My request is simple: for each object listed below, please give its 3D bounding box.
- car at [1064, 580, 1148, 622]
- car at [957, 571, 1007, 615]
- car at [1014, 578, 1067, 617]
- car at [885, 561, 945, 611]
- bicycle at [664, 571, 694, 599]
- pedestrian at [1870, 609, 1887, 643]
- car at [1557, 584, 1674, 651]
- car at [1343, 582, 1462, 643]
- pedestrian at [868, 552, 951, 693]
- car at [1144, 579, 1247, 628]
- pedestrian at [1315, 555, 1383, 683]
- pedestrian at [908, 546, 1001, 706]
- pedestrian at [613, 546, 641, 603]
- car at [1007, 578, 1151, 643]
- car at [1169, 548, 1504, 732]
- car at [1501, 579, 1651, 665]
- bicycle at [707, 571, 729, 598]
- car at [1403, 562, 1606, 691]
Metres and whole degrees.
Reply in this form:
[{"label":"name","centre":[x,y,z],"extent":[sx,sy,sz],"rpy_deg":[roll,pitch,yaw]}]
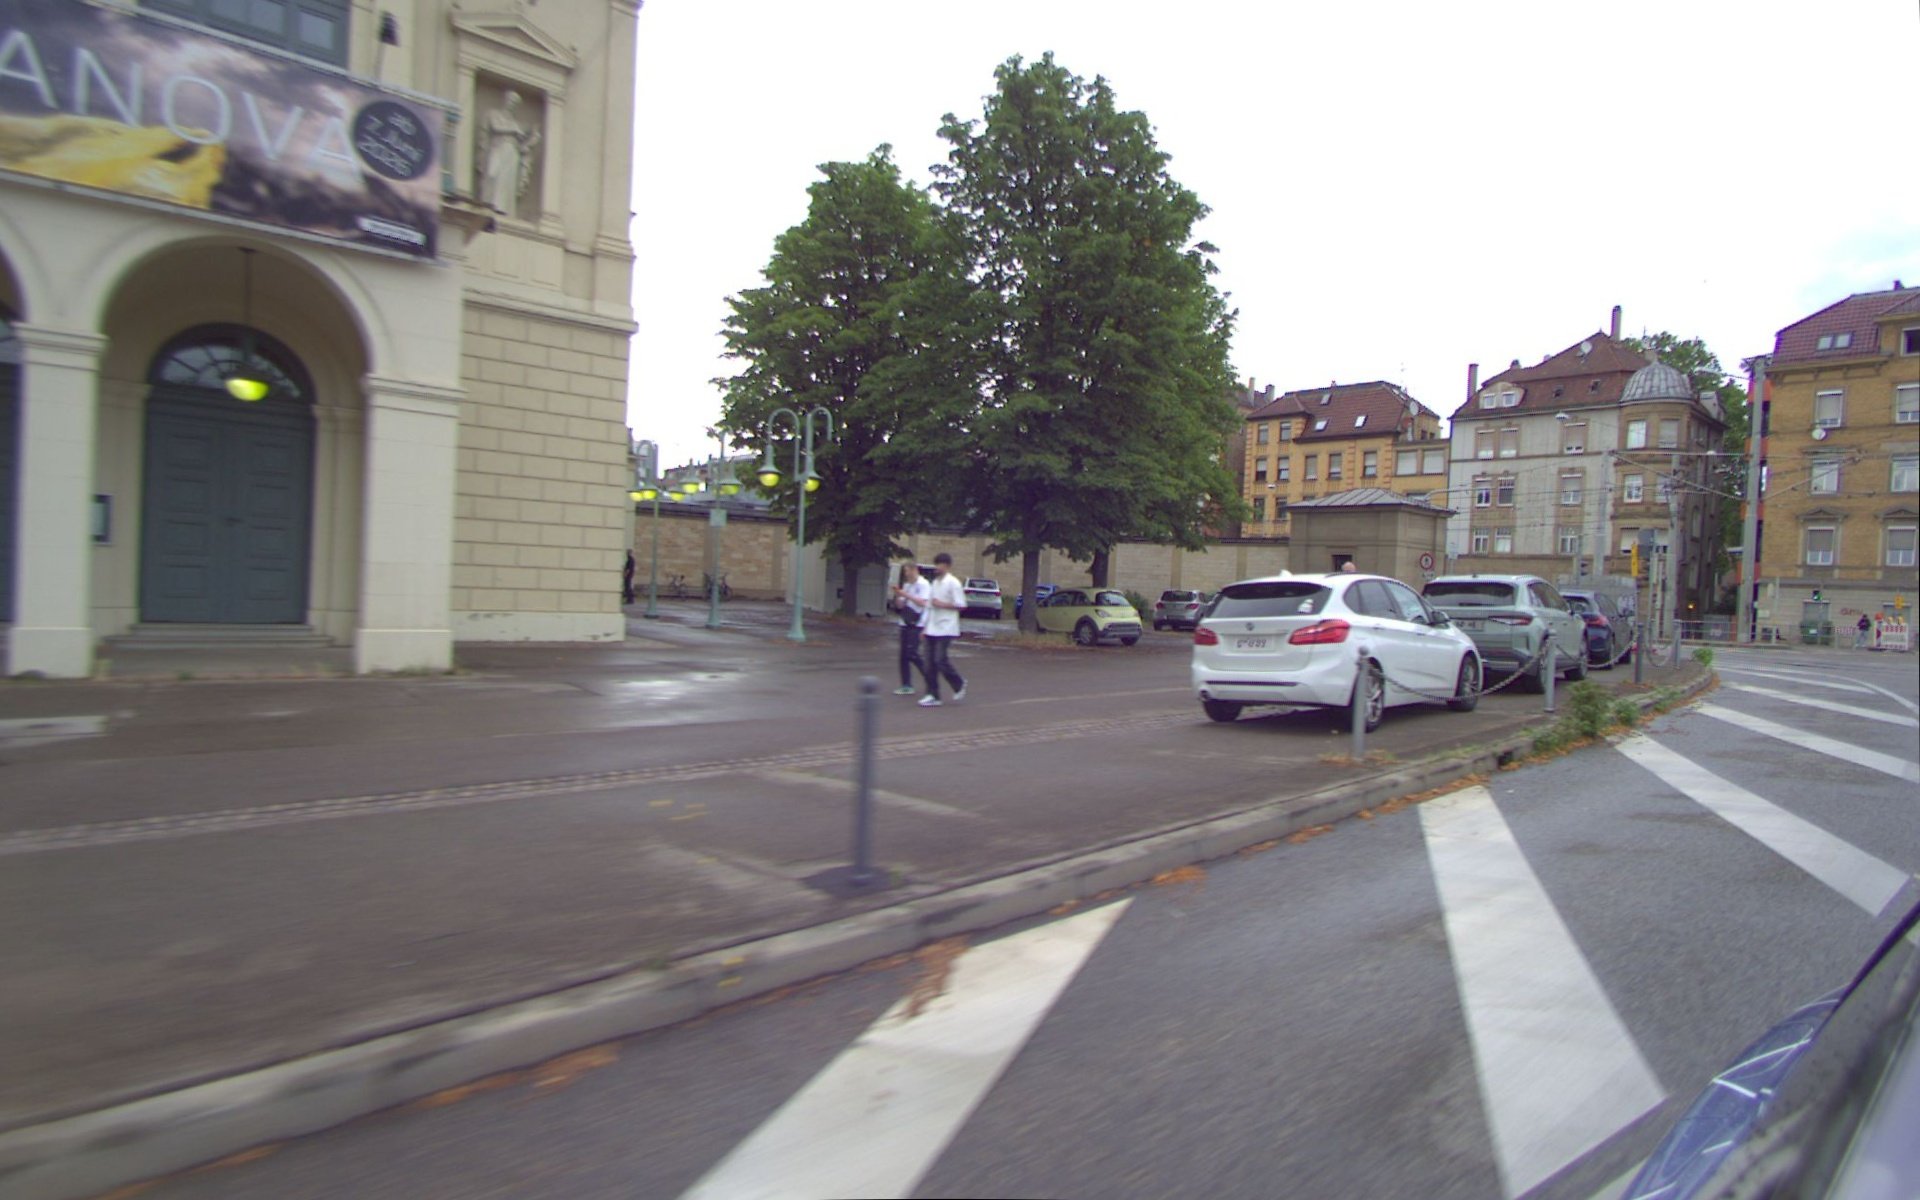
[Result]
[{"label":"car","centre":[5.710,-0.002,39.278],"extent":[1.710,1.460,3.953],"rpy_deg":[3,2,33]},{"label":"car","centre":[0.830,-0.318,40.872],"extent":[1.650,1.602,4.004],"rpy_deg":[2,2,-3]},{"label":"car","centre":[3.327,-0.150,41.314],"extent":[1.677,1.412,3.987],"rpy_deg":[2,2,11]},{"label":"car","centre":[-1.866,-0.601,40.773],"extent":[1.794,1.859,4.009],"rpy_deg":[2,2,-11]},{"label":"bicycle","centre":[-10.972,-0.608,39.447],"extent":[0.562,0.992,2.027],"rpy_deg":[1,2,-31]},{"label":"pedestrian","centre":[46.448,1.290,51.181],"extent":[0.525,1.674,0.511],"rpy_deg":[1,1,-41]},{"label":"car","centre":[15.993,0.436,24.623],"extent":[1.837,1.483,4.080],"rpy_deg":[-1,-2,41]},{"label":"car","centre":[12.993,0.337,29.614],"extent":[3.934,1.602,1.828],"rpy_deg":[0,3,-44]},{"label":"pedestrian","centre":[-0.626,0.262,12.529],"extent":[0.627,1.664,0.768],"rpy_deg":[3,2,45]},{"label":"car","centre":[8.538,0.097,36.469],"extent":[1.827,1.602,3.936],"rpy_deg":[4,3,44]},{"label":"pedestrian","centre":[5.767,0.269,14.980],"extent":[0.696,1.829,0.769],"rpy_deg":[1,0,42]},{"label":"pedestrian","centre":[-0.061,0.272,11.613],"extent":[0.824,1.757,0.595],"rpy_deg":[1,2,-41]},{"label":"pedestrian","centre":[-11.353,-0.876,34.508],"extent":[0.594,1.894,0.698],"rpy_deg":[3,2,45]},{"label":"car","centre":[3.096,0.240,26.945],"extent":[1.696,1.487,3.747],"rpy_deg":[1,2,-36]},{"label":"car","centre":[4.277,0.374,11.191],"extent":[4.073,1.660,1.840],"rpy_deg":[0,-1,-43]},{"label":"car","centre":[12.058,0.394,19.707],"extent":[1.837,1.482,4.081],"rpy_deg":[-1,-1,41]},{"label":"bicycle","centre":[-9.575,-0.625,40.098],"extent":[0.562,1.031,1.954],"rpy_deg":[1,1,-5]},{"label":"car","centre":[8.232,0.332,15.133],"extent":[1.715,1.660,4.079],"rpy_deg":[-1,0,42]}]
